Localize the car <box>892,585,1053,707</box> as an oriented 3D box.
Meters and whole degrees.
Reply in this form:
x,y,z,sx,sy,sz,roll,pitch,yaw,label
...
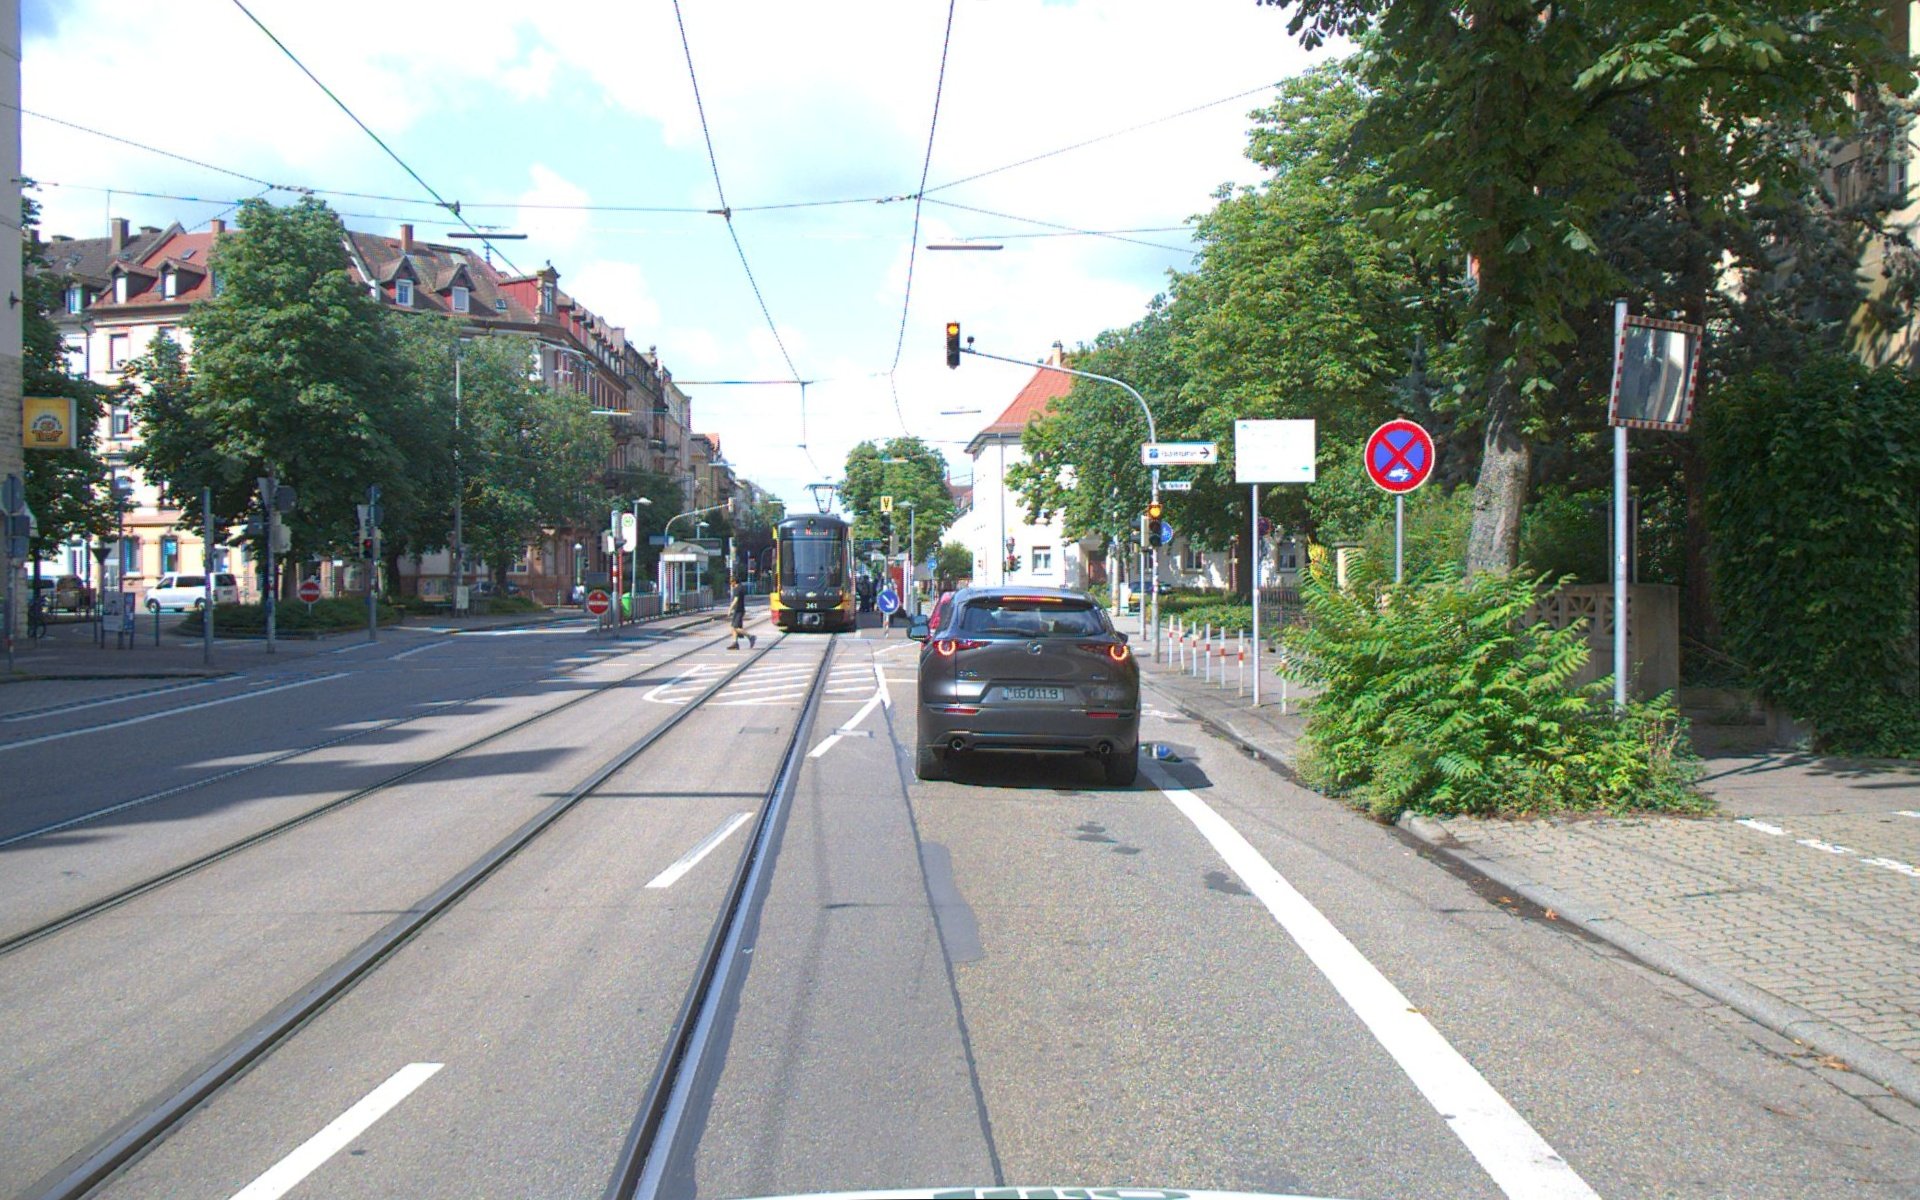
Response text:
x,y,z,sx,sy,sz,roll,pitch,yaw,label
0.070,0.567,23.730,1.751,1.518,4.876,-1,1,-6,car

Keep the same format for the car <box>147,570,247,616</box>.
x,y,z,sx,sy,sz,roll,pitch,yaw,label
-38.637,-0.379,83.761,4.033,2.048,2.001,-3,0,6,car

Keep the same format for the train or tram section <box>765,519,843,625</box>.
x,y,z,sx,sy,sz,roll,pitch,yaw,label
-5.852,-0.984,60.886,2.601,3.589,8.483,-1,0,-7,train or tram section

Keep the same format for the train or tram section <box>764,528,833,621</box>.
x,y,z,sx,sy,sz,roll,pitch,yaw,label
-6.853,-1.013,69.330,2.601,3.589,8.483,-1,0,-7,train or tram section

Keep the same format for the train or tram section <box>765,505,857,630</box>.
x,y,z,sx,sy,sz,roll,pitch,yaw,label
-4.849,-0.964,52.443,2.601,3.589,8.483,-1,0,-7,train or tram section

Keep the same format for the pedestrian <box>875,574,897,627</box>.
x,y,z,sx,sy,sz,roll,pitch,yaw,label
-2.293,0.001,51.075,0.655,1.633,0.699,0,0,-6,pedestrian

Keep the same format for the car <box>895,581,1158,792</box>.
x,y,z,sx,sy,sz,roll,pitch,yaw,label
0.415,0.624,14.446,1.754,1.538,4.346,1,1,-5,car

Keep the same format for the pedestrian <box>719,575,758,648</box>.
x,y,z,sx,sy,sz,roll,pitch,yaw,label
-4.970,0.248,37.161,0.858,1.633,0.630,0,0,-9,pedestrian
